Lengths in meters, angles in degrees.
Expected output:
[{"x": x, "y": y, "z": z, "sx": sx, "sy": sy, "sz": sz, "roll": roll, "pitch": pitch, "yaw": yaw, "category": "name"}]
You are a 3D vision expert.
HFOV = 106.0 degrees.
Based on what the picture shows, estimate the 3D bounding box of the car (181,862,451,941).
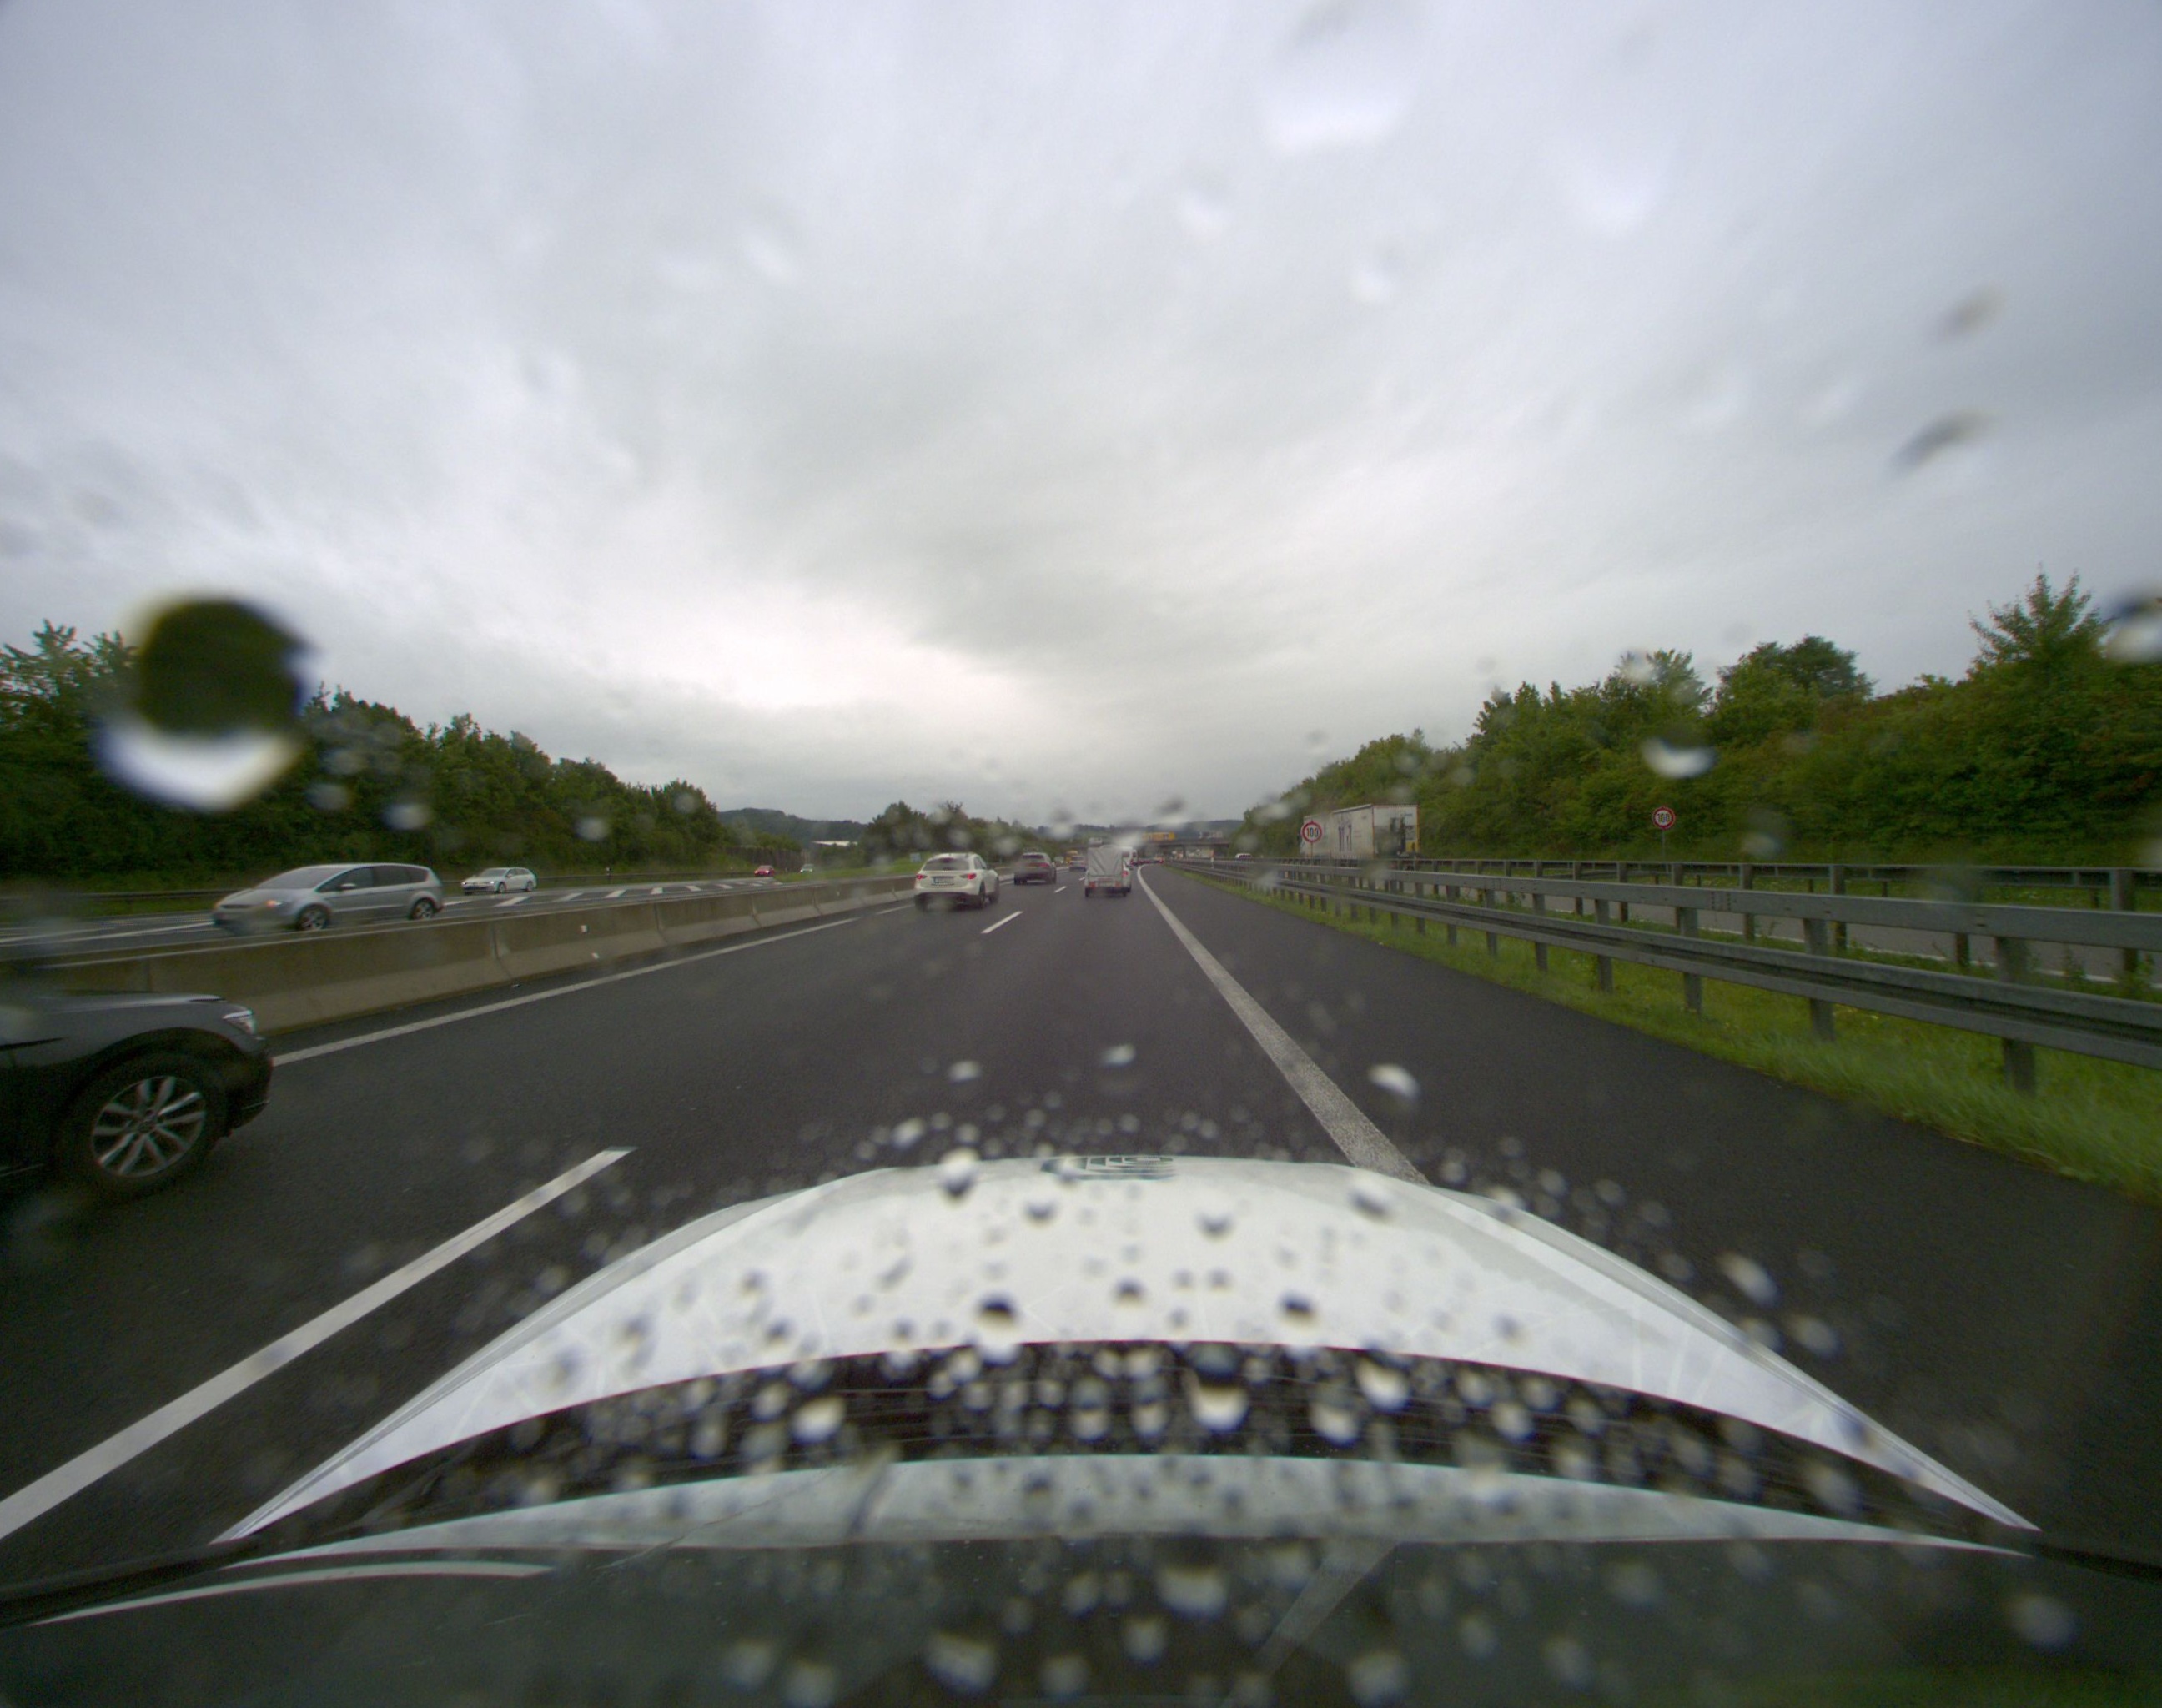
[{"x": -18.503, "y": 1.064, "z": 20.084, "sx": 2.170, "sy": 1.635, "sz": 4.541, "roll": -1, "pitch": 0, "yaw": 3, "category": "car"}]

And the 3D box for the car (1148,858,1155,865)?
[{"x": 20.453, "y": 2.186, "z": 236.660, "sx": 1.984, "sy": 1.750, "sz": 4.006, "roll": 0, "pitch": 0, "yaw": 6, "category": "car"}]

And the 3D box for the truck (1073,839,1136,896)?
[{"x": 1.081, "y": 0.472, "z": 32.739, "sx": 2.009, "sy": 1.985, "sz": 7.224, "roll": -1, "pitch": 0, "yaw": 6, "category": "truck"}]

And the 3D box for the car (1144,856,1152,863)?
[{"x": 17.009, "y": 1.509, "z": 208.031, "sx": 1.984, "sy": 1.750, "sz": 4.005, "roll": 0, "pitch": 0, "yaw": 5, "category": "car"}]

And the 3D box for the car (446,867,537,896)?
[{"x": -32.479, "y": 1.491, "z": 45.047, "sx": 2.178, "sy": 1.430, "sz": 4.378, "roll": -1, "pitch": 0, "yaw": -7, "category": "car"}]

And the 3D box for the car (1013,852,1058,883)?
[{"x": -2.495, "y": 0.713, "z": 45.432, "sx": 2.167, "sy": 1.631, "sz": 4.501, "roll": -1, "pitch": 0, "yaw": 1, "category": "car"}]

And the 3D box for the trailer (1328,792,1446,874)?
[{"x": 17.674, "y": -1.115, "z": 48.036, "sx": 3.423, "sy": 4.289, "sz": 10.461, "roll": -1, "pitch": 0, "yaw": 3, "category": "trailer"}]

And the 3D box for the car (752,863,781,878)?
[{"x": -38.859, "y": 2.038, "z": 100.816, "sx": 2.178, "sy": 1.696, "sz": 4.617, "roll": -1, "pitch": 0, "yaw": -7, "category": "car"}]

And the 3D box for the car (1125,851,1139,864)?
[{"x": 8.361, "y": 0.542, "z": 133.841, "sx": 1.987, "sy": 2.036, "sz": 4.152, "roll": 0, "pitch": 0, "yaw": 1, "category": "car"}]

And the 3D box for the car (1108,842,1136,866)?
[{"x": 4.828, "y": -0.051, "z": 94.804, "sx": 3.002, "sy": 2.616, "sz": 6.083, "roll": -1, "pitch": 0, "yaw": 5, "category": "car"}]

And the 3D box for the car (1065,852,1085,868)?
[{"x": -0.613, "y": 0.607, "z": 85.536, "sx": 1.893, "sy": 1.613, "sz": 4.019, "roll": -1, "pitch": 0, "yaw": 2, "category": "car"}]

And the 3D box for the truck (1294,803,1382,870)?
[{"x": 18.152, "y": -1.159, "z": 58.489, "sx": 3.423, "sy": 4.289, "sz": 10.425, "roll": -1, "pitch": 0, "yaw": 3, "category": "truck"}]

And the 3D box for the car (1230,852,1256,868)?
[{"x": 15.615, "y": 0.588, "z": 78.564, "sx": 1.852, "sy": 1.447, "sz": 4.160, "roll": -1, "pitch": 0, "yaw": 3, "category": "car"}]

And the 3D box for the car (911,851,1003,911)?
[{"x": -3.658, "y": 0.759, "z": 24.861, "sx": 1.969, "sy": 1.639, "sz": 4.501, "roll": -1, "pitch": 0, "yaw": 1, "category": "car"}]

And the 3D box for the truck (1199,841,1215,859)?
[{"x": 37.763, "y": -1.297, "z": 244.193, "sx": 4.075, "sy": 5.103, "sz": 10.477, "roll": -1, "pitch": 0, "yaw": 5, "category": "truck"}]

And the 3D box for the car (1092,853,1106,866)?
[{"x": 2.520, "y": 0.758, "z": 114.535, "sx": 1.834, "sy": 1.819, "sz": 4.002, "roll": -1, "pitch": 0, "yaw": 2, "category": "car"}]

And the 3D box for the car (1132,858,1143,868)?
[{"x": 10.627, "y": 1.658, "z": 153.039, "sx": 1.987, "sy": 1.750, "sz": 4.000, "roll": 0, "pitch": 0, "yaw": 1, "category": "car"}]

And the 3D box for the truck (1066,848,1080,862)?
[{"x": -1.825, "y": 0.239, "z": 192.170, "sx": 2.748, "sy": 3.398, "sz": 5.854, "roll": 0, "pitch": 0, "yaw": 5, "category": "truck"}]

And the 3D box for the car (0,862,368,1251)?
[{"x": -5.196, "y": 0.821, "z": 2.350, "sx": 1.893, "sy": 1.497, "sz": 4.853, "roll": -1, "pitch": 0, "yaw": 1, "category": "car"}]
